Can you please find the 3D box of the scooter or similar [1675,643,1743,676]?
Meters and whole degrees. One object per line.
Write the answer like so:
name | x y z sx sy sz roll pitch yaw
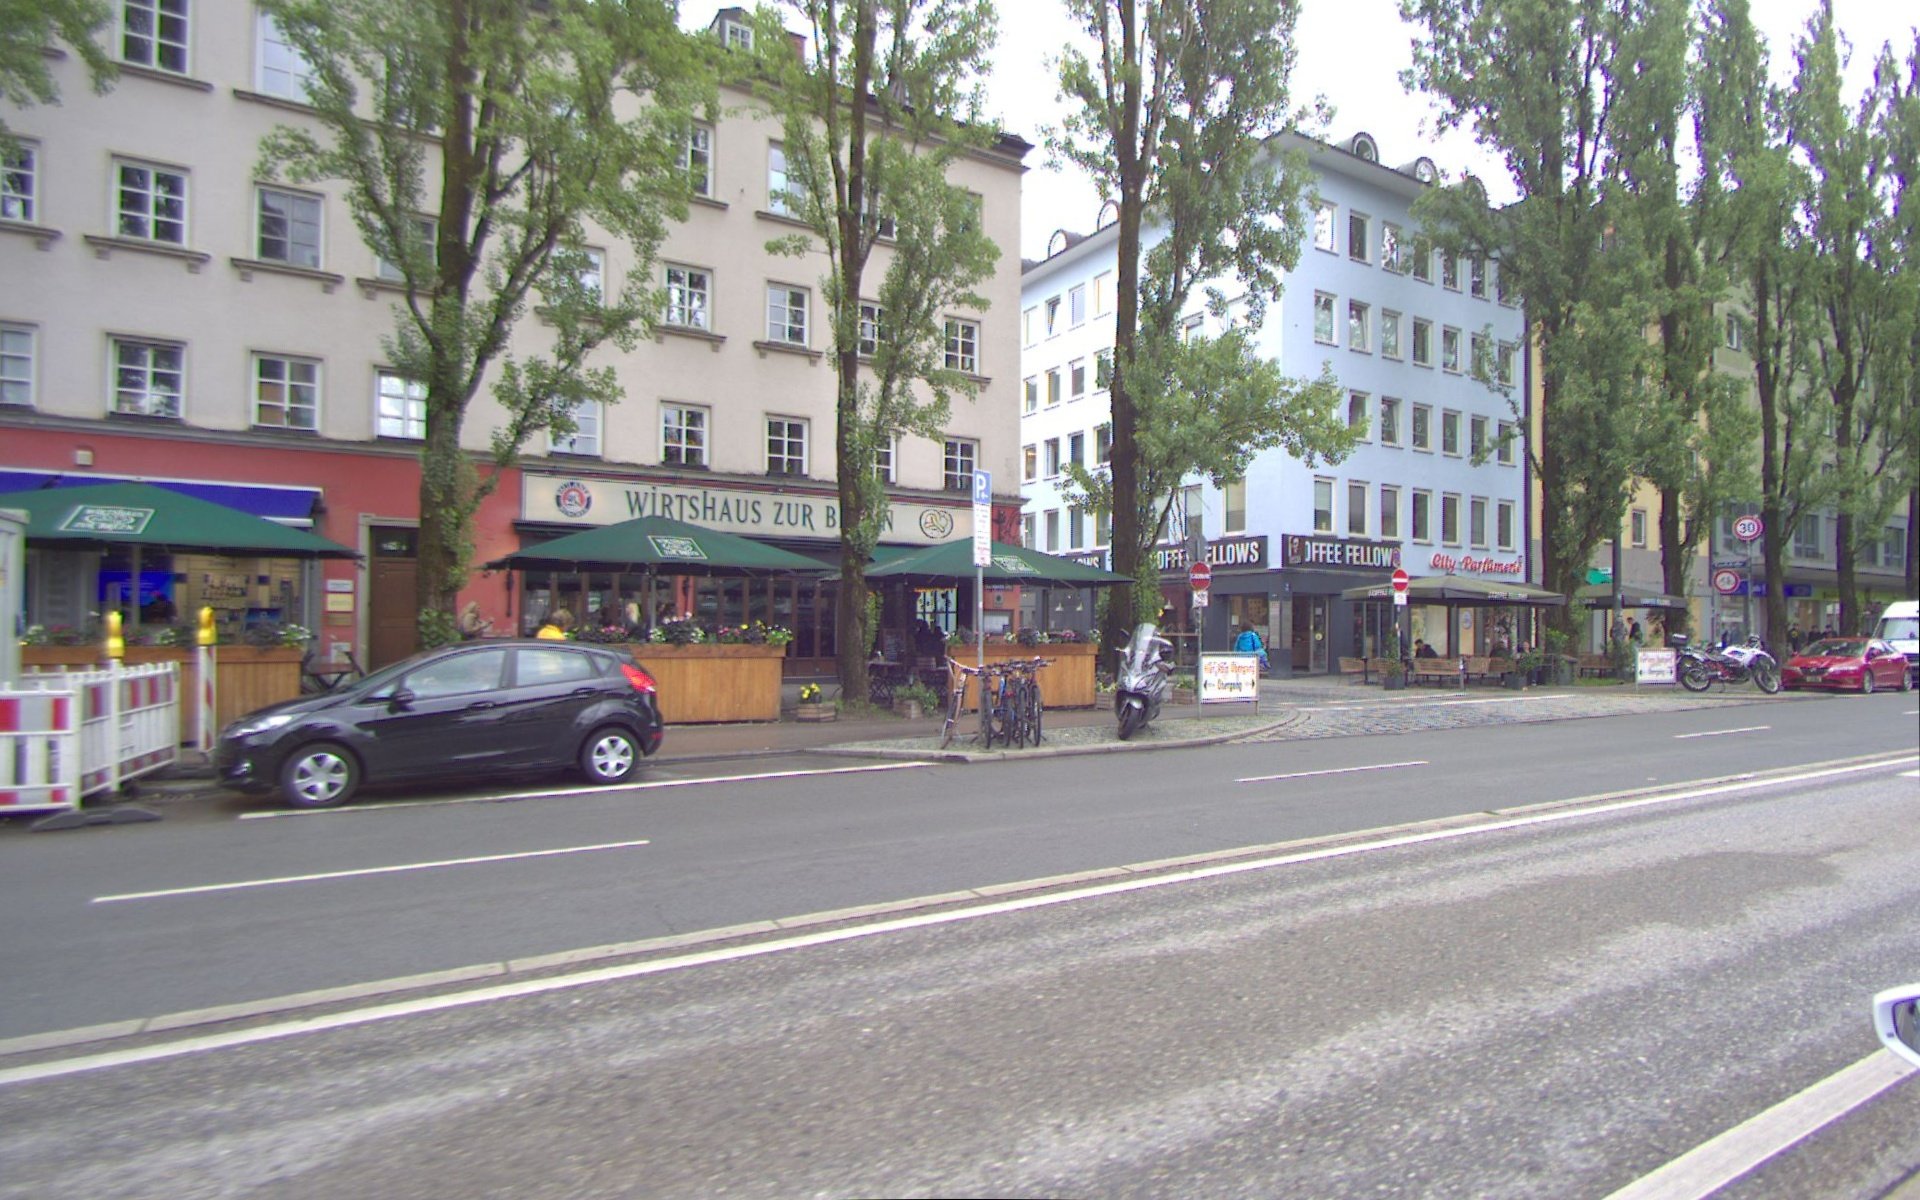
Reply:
scooter or similar | 24.657 1.943 33.106 0.417 1.040 1.763 1 -2 -32

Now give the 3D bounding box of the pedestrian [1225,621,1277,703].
pedestrian | 6.089 1.284 21.023 0.690 1.668 0.945 -1 -2 44

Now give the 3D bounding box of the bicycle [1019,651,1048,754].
bicycle | 0.977 1.292 13.159 0.277 1.140 1.983 2 0 6

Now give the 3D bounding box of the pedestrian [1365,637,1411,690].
pedestrian | 11.448 1.690 26.872 0.938 1.380 0.695 1 -2 -28

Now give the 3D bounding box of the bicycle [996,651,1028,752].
bicycle | 0.701 1.283 13.191 0.277 1.140 1.983 2 0 6

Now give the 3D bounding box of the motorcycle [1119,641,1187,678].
motorcycle | 6.748 2.062 35.253 0.729 1.219 2.748 -1 -1 -29

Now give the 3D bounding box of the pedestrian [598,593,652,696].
pedestrian | -6.557 0.861 19.644 0.894 1.952 0.695 1 -2 -28

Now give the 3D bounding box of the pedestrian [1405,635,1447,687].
pedestrian | 12.730 1.652 27.453 0.808 1.380 0.695 1 -2 -28

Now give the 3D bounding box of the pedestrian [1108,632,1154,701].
pedestrian | 4.275 1.644 25.103 0.916 1.668 0.696 1 -2 -25

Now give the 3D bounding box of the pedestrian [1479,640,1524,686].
pedestrian | 14.444 1.667 26.785 0.692 1.198 0.811 1 -2 -32

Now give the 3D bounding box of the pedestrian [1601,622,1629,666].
pedestrian | 24.695 1.644 37.895 0.553 1.657 0.699 0 -1 -6

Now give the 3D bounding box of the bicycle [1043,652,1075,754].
bicycle | 1.311 1.295 13.143 0.353 1.140 1.983 2 0 6

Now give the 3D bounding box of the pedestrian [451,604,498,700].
pedestrian | -8.536 0.909 17.658 0.723 1.645 0.695 1 -2 -28

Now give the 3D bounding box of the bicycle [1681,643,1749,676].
bicycle | 25.128 1.959 33.448 0.417 1.040 1.763 1 -2 -32

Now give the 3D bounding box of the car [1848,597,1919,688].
car | 29.922 1.298 30.807 6.832 2.601 1.996 1 -3 -31

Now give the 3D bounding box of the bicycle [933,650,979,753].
bicycle | -0.034 1.273 13.097 0.335 1.140 1.983 2 0 6

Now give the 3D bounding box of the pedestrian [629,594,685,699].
pedestrian | -5.804 0.883 19.228 0.894 1.952 0.695 1 -2 -28

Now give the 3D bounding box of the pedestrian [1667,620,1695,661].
pedestrian | 29.896 1.675 41.650 0.718 1.657 0.695 1 -2 -28

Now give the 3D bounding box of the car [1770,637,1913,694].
car | 23.996 1.732 27.314 4.100 1.438 1.729 1 -3 -31

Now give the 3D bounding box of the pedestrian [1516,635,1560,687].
pedestrian | 15.668 1.650 27.234 0.838 1.380 0.694 1 -2 -31

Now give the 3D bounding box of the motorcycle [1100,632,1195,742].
motorcycle | 2.738 1.179 14.425 0.732 1.433 2.453 -1 -2 26

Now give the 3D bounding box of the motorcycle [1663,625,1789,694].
motorcycle | 18.454 1.410 24.255 2.301 1.584 0.715 1 0 18

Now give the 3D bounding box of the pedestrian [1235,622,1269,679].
pedestrian | 9.444 1.624 32.471 0.933 1.796 0.699 -1 -2 29

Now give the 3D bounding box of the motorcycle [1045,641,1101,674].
motorcycle | 4.397 2.243 39.415 0.729 1.219 2.748 -1 -1 -29

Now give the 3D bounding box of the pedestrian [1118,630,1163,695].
pedestrian | 4.741 1.613 26.389 0.916 1.668 0.696 0 -1 -25

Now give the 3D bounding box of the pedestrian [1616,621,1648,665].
pedestrian | 25.301 1.609 37.820 0.713 1.657 0.699 0 -1 -6

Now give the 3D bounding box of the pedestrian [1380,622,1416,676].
pedestrian | 14.176 1.573 32.491 0.775 1.708 0.753 1 -2 -28

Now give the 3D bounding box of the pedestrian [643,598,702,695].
pedestrian | -5.341 0.855 18.658 0.938 1.745 0.695 1 -2 -28

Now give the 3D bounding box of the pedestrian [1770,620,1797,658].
pedestrian | 37.380 1.771 45.580 0.717 1.722 0.695 1 -2 -26

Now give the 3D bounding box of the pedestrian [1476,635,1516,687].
pedestrian | 14.658 1.656 27.487 0.692 1.380 0.709 1 -2 -32

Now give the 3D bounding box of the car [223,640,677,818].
car | -4.929 1.122 9.981 3.746 1.441 1.745 1 -3 -34

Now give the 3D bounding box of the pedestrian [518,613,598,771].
pedestrian | -4.658 1.036 11.631 0.724 1.749 0.694 1 -2 -33
